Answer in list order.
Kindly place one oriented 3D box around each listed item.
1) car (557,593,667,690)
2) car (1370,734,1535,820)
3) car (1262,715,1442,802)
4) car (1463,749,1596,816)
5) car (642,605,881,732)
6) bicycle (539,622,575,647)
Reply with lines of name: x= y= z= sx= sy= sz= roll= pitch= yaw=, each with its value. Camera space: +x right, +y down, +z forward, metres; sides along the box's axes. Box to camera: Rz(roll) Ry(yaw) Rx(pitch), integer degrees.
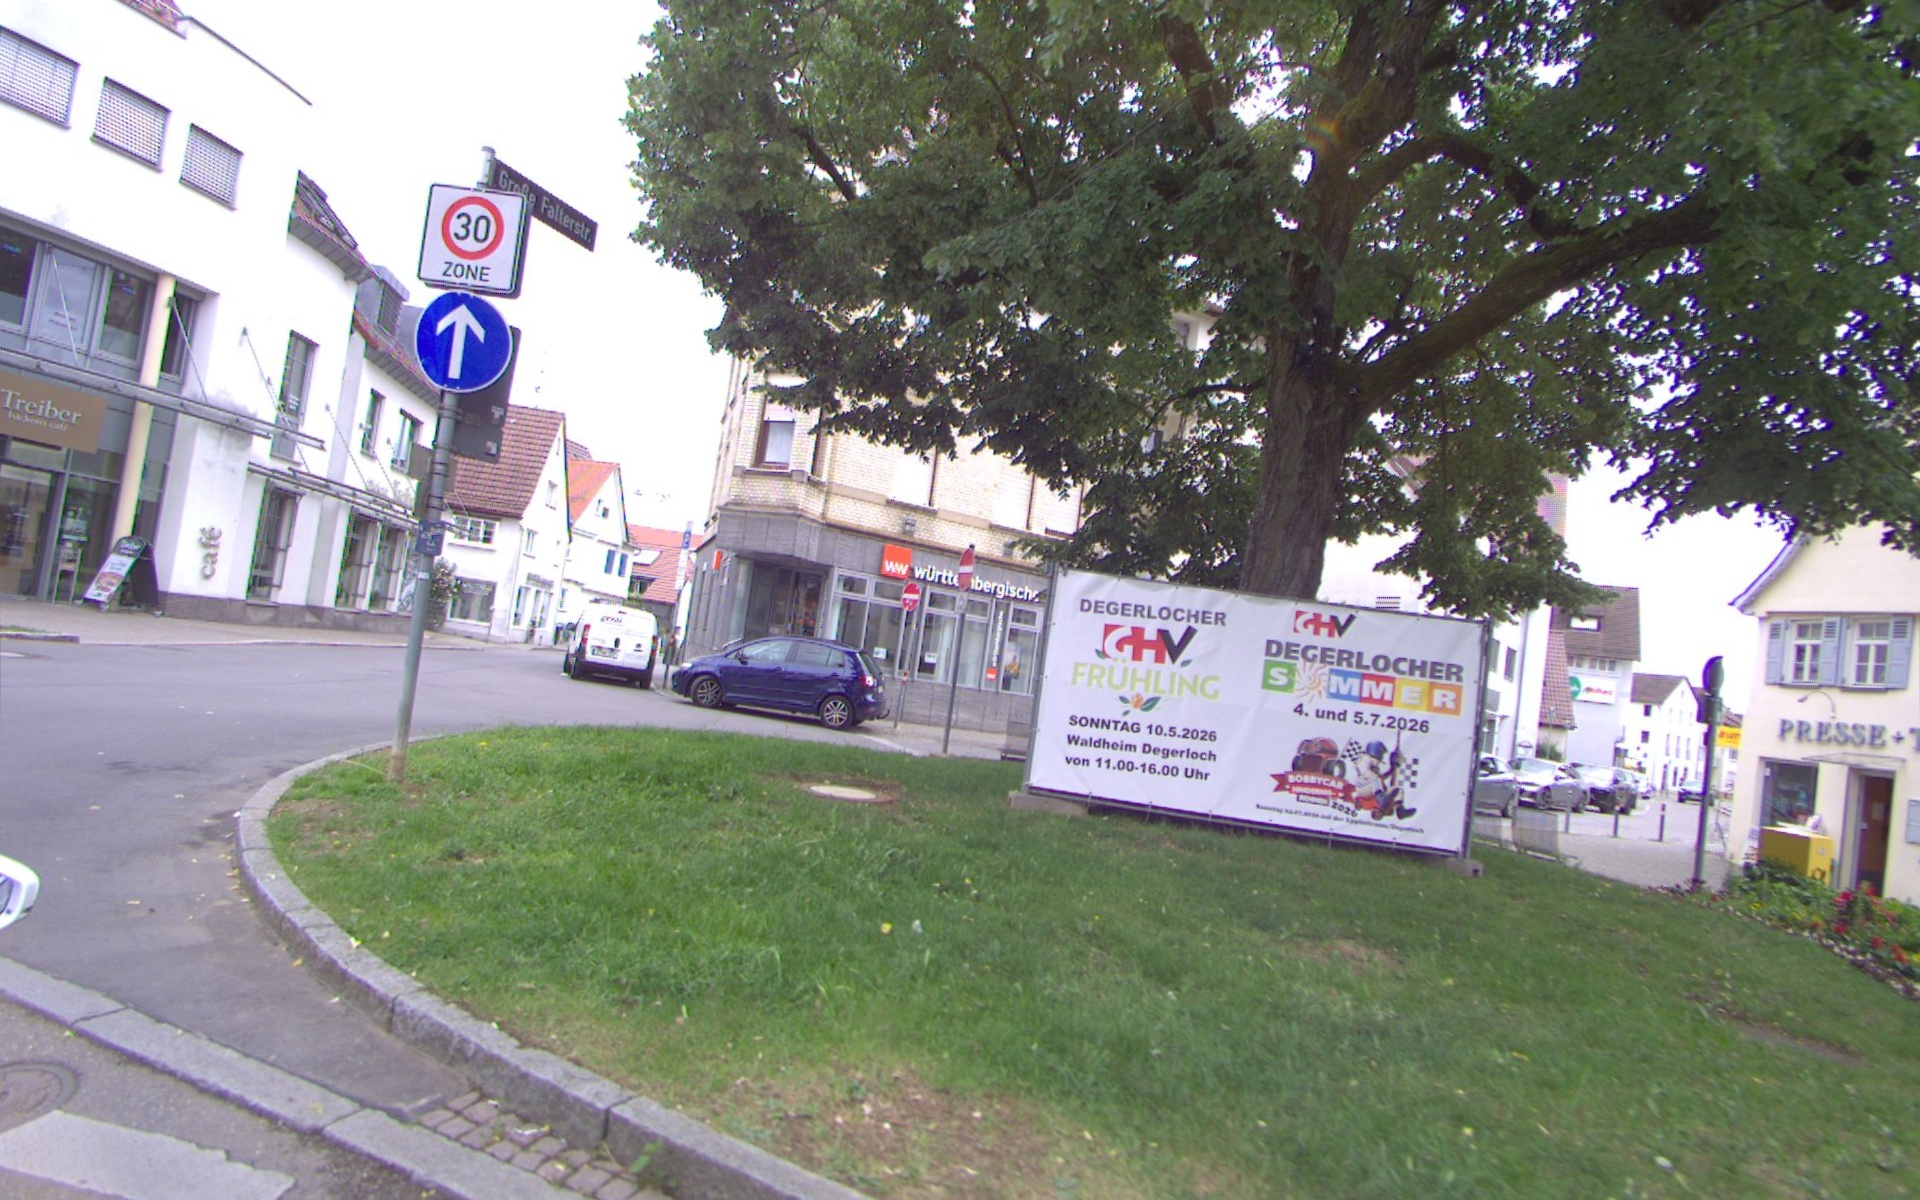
car: x=-8.192 y=0.923 z=23.419 sx=1.810 sy=1.810 sz=4.198 roll=11 pitch=-5 yaw=-24
car: x=11.874 y=4.263 z=24.171 sx=3.976 sy=1.532 sz=1.767 roll=11 pitch=-3 yaw=-35
car: x=10.137 y=4.096 z=25.915 sx=4.345 sy=1.563 sz=2.106 roll=11 pitch=-3 yaw=-33
car: x=17.892 y=5.733 z=31.528 sx=4.498 sy=1.527 sz=2.231 roll=11 pitch=-4 yaw=-42
car: x=-3.734 y=1.347 z=19.436 sx=3.947 sy=1.720 sz=1.868 roll=9 pitch=-5 yaw=5
bicycle: x=-20.773 y=1.777 z=51.847 sx=0.435 sy=1.049 sz=2.098 roll=12 pitch=-3 yaw=12
